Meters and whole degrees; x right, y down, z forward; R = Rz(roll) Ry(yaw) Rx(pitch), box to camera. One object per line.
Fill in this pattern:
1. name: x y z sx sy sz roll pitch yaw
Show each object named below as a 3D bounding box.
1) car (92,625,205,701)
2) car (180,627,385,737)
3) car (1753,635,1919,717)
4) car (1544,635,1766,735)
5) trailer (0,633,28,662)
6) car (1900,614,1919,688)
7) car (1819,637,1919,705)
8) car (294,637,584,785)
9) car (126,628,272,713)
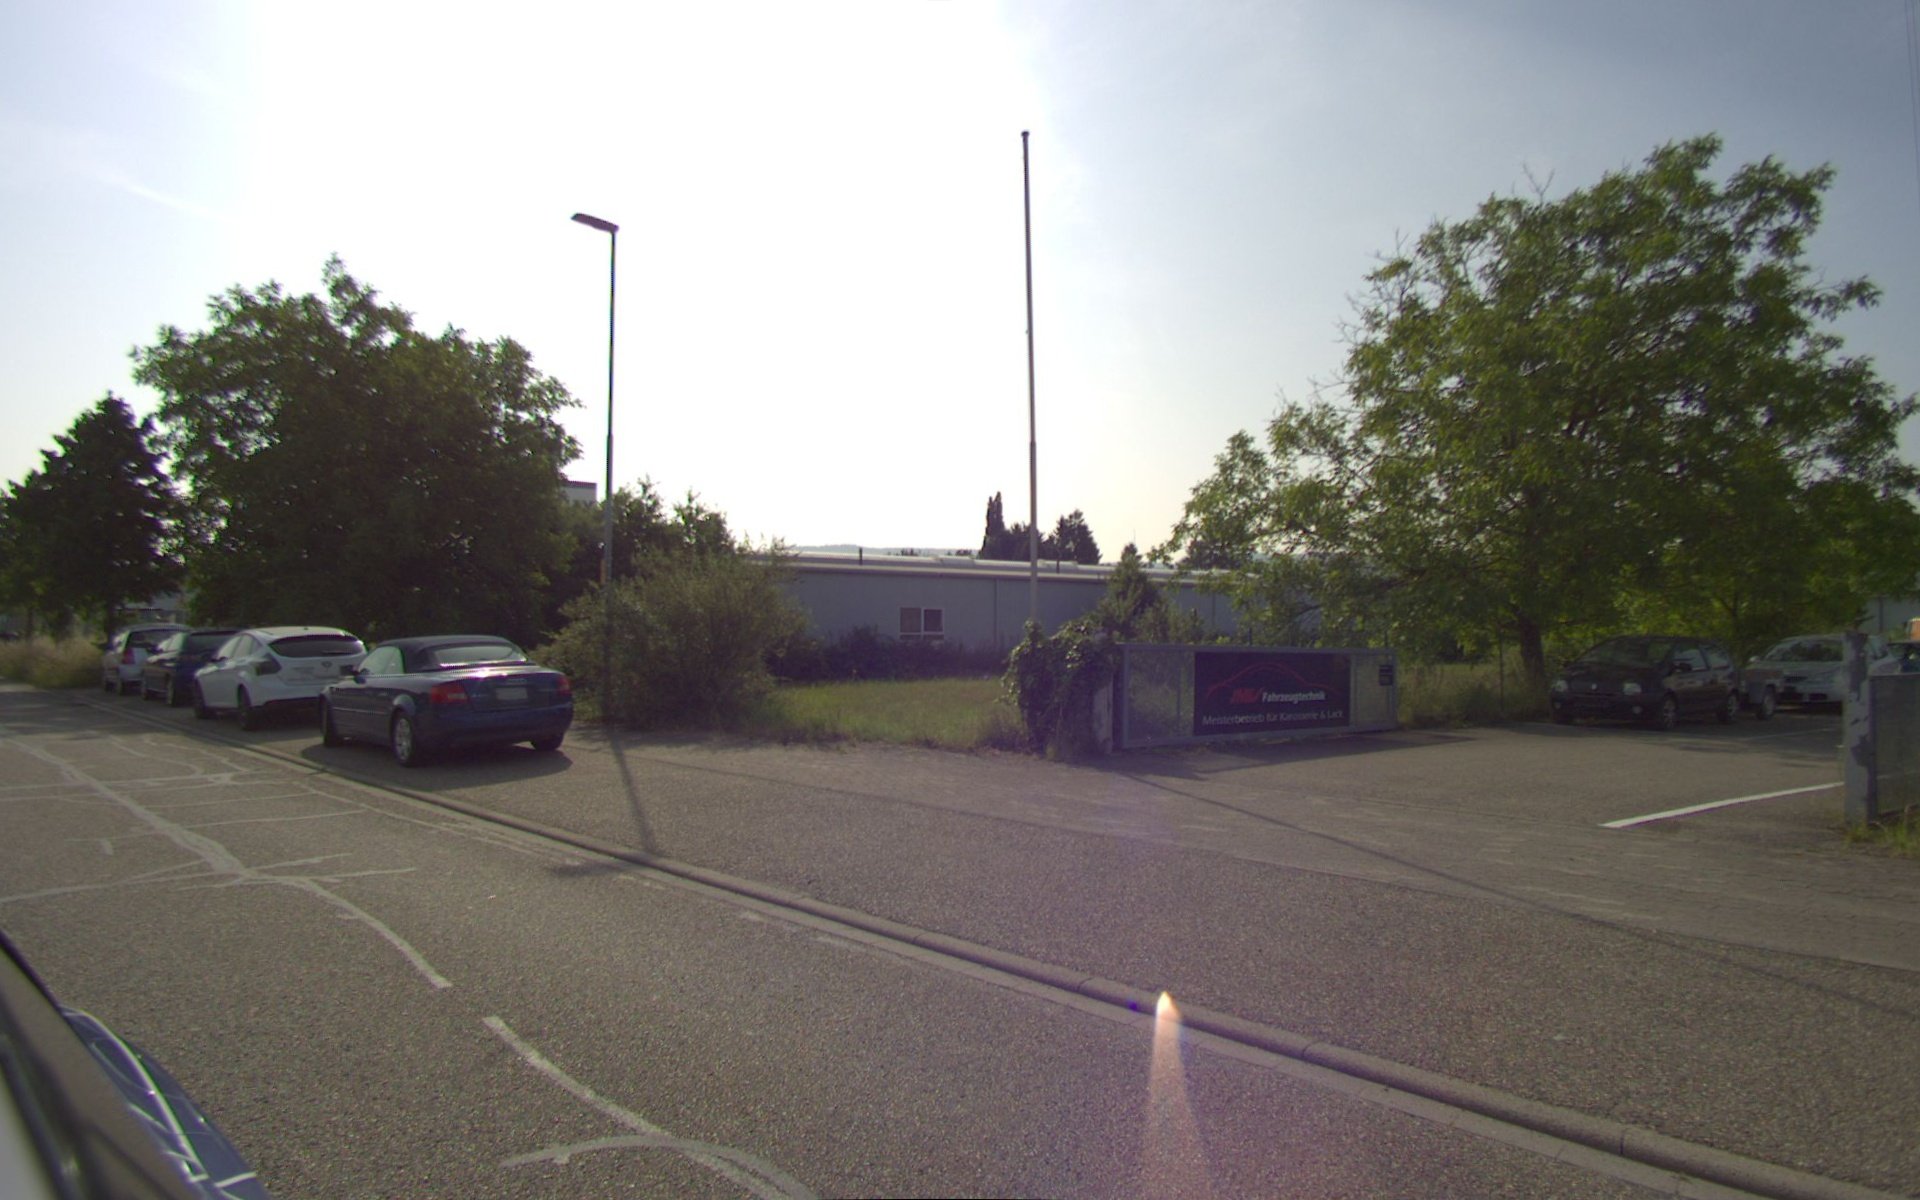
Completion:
1. car: -18.306 1.342 22.775 3.689 1.550 1.549 -1 -1 44
2. car: -10.758 1.178 15.954 4.252 1.480 1.666 -1 -1 41
3. car: 16.902 1.394 19.448 3.434 1.443 1.453 1 -2 -31
4. car: 10.867 1.253 15.812 3.180 1.400 1.666 1 -2 -31
5. trailer: -46.424 2.227 47.791 9.358 1.193 2.556 -1 -1 41
6. car: 25.973 1.240 24.251 1.817 1.930 5.280 1 -2 -1
7. car: 20.365 1.505 21.422 3.279 1.393 1.430 -1 -3 40
8. car: -6.354 1.177 12.111 4.367 1.398 1.616 -1 -1 41
9. car: -15.001 1.306 19.867 3.962 1.454 1.562 -1 -1 42
